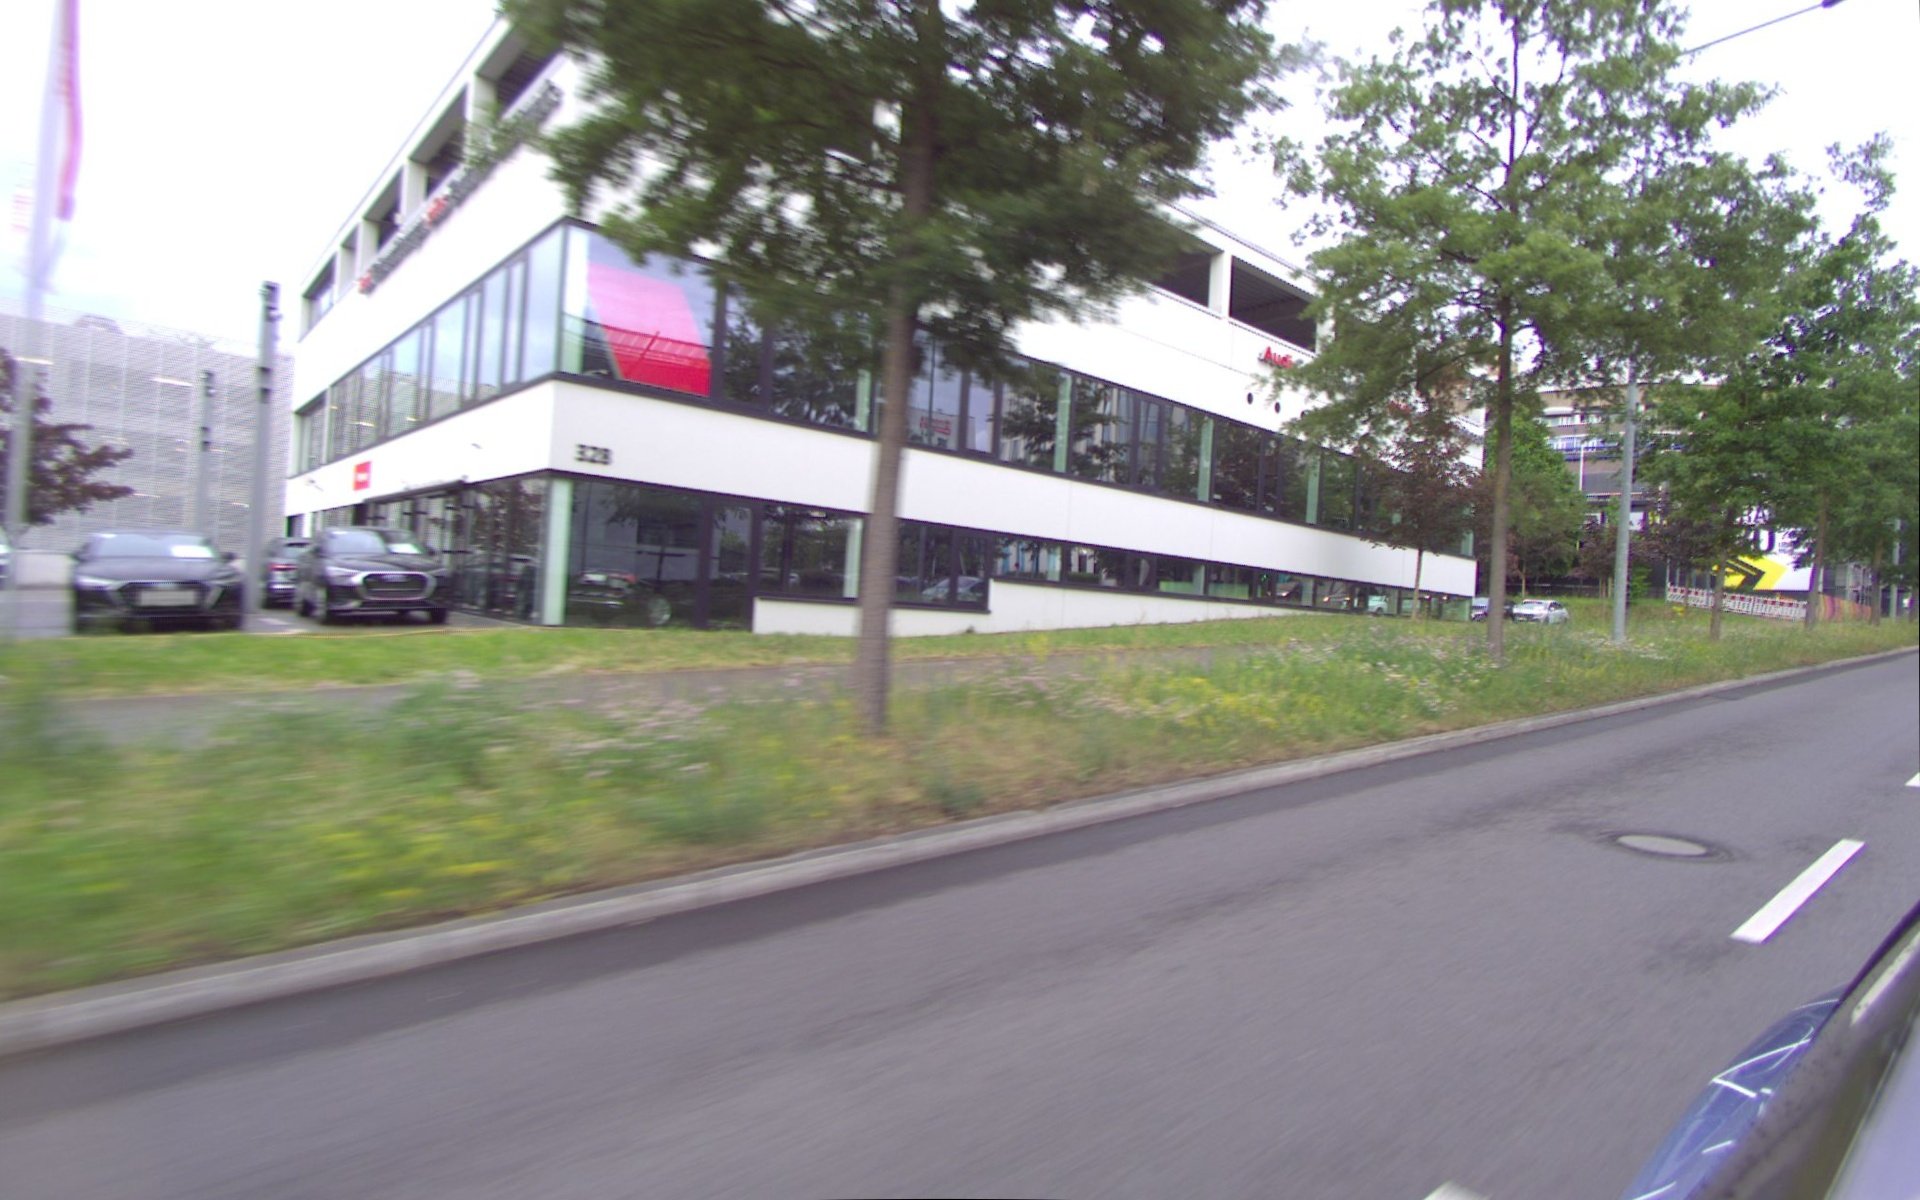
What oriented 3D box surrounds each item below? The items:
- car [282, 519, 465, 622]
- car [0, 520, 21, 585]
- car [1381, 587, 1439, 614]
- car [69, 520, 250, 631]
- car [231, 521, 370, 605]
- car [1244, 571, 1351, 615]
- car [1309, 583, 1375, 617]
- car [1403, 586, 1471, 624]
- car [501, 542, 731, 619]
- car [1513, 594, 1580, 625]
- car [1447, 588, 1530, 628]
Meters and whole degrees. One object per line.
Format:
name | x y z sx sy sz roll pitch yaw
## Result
car | -9.980 -0.514 17.046 1.897 1.500 4.406 0 2 -41
car | -25.657 -1.235 26.274 1.796 1.613 4.283 0 2 -42
car | 25.889 0.028 58.210 3.579 1.503 1.700 0 0 -41
car | -11.858 -0.410 14.874 1.806 1.395 4.326 0 3 -42
car | -13.920 -0.774 21.250 1.796 1.570 4.283 0 2 -42
car | 16.266 -0.321 48.858 4.443 1.697 1.704 5 0 -3
car | 19.943 -0.020 52.736 3.579 1.697 1.700 0 -1 -41
car | 23.431 0.206 49.676 3.579 1.696 1.701 0 4 -41
car | -6.663 -0.381 19.784 3.855 1.355 1.901 -1 2 -42
car | 30.193 0.458 52.035 4.384 1.503 1.700 0 0 -41
car | 24.813 0.338 47.457 4.510 1.696 1.907 0 3 -41
